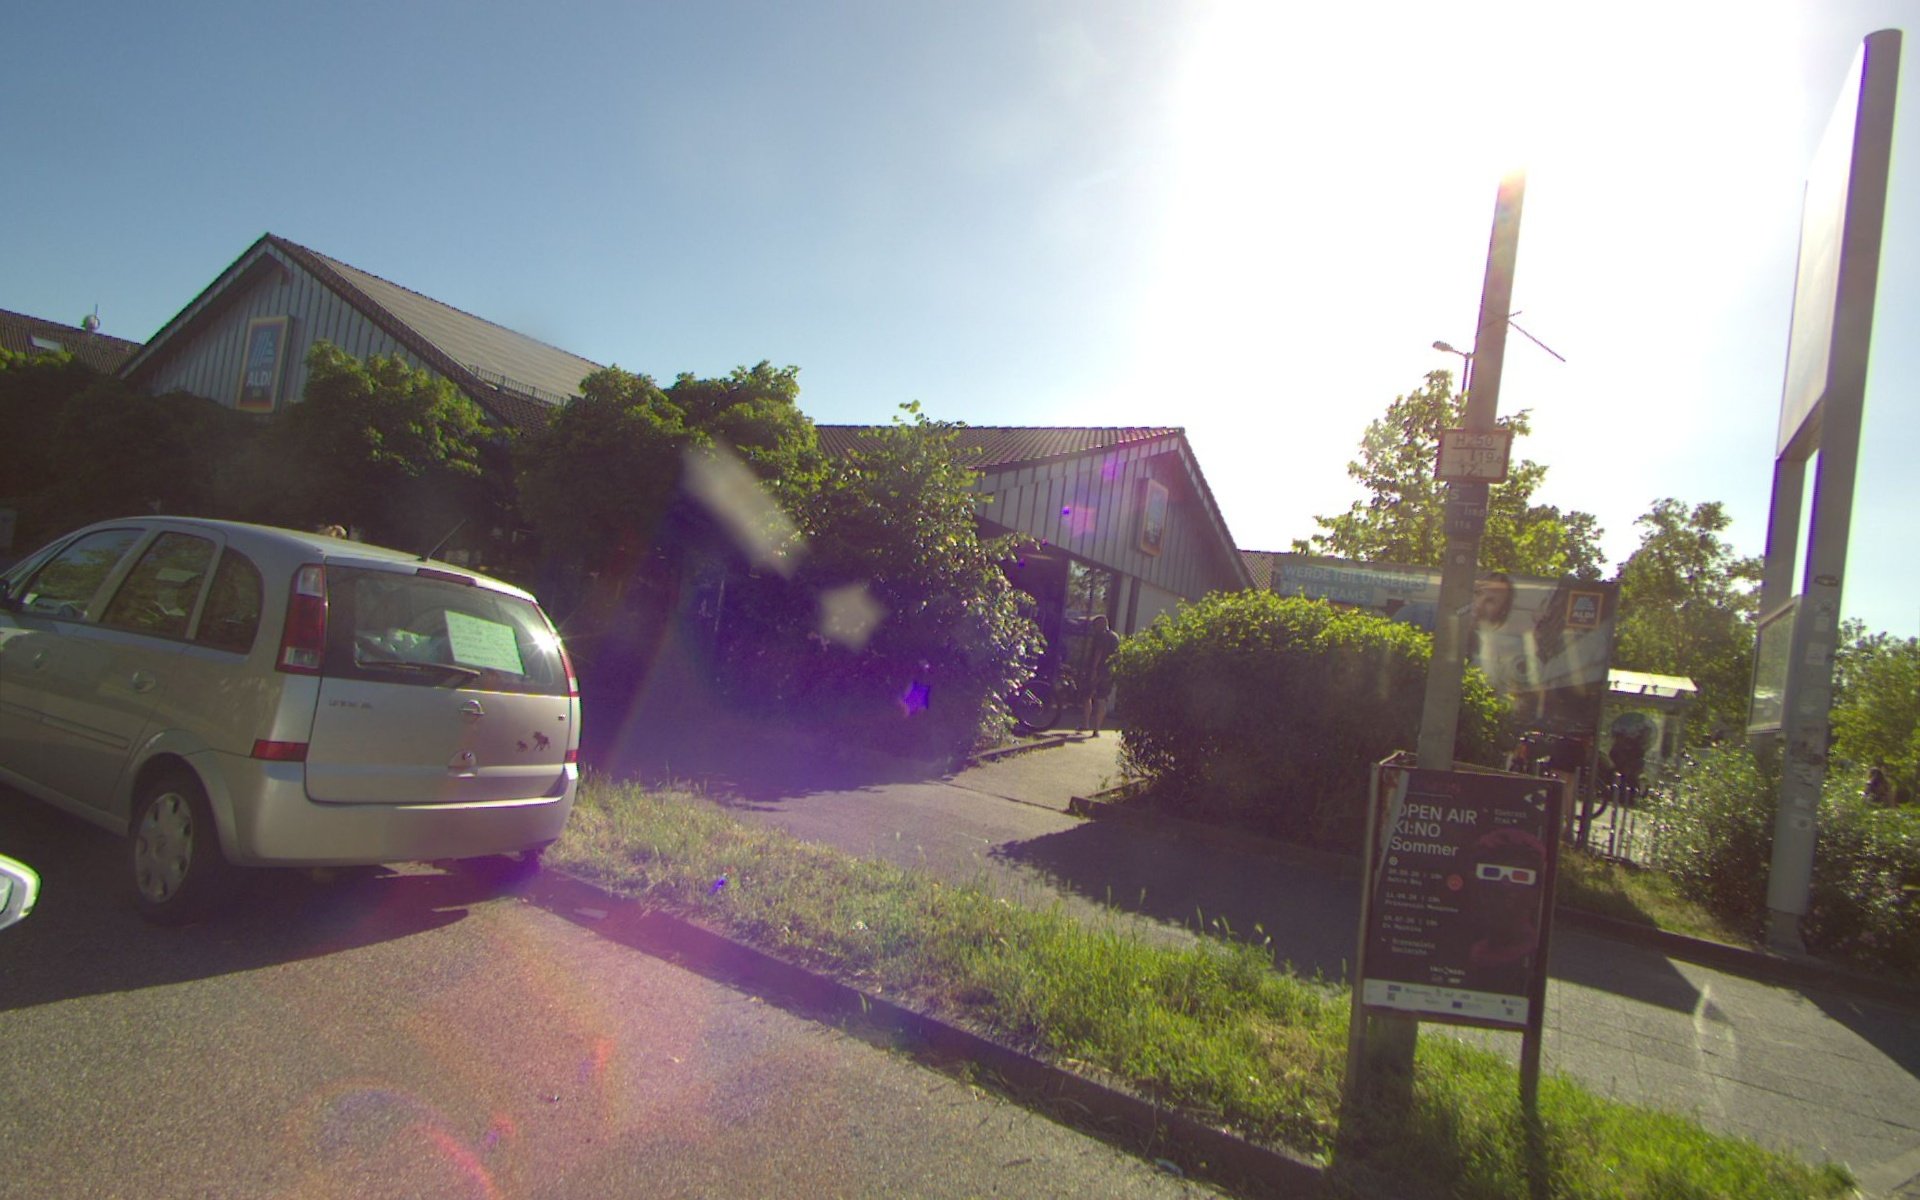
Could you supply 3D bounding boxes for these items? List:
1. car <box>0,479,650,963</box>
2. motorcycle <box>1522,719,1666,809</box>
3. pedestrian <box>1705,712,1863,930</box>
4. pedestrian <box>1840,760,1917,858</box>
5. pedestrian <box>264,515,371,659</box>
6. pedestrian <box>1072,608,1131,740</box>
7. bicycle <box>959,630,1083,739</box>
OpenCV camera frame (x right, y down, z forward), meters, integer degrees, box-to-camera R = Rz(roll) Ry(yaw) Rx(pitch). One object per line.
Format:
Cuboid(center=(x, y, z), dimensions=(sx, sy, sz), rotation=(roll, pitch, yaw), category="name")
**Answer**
Cuboid(center=(-3.815, 0.414, 5.264), dimensions=(3.958, 1.615, 1.687), rotation=(7, -5, 28), category="car")
Cuboid(center=(14.230, 3.652, 22.667), dimensions=(2.554, 1.526, 0.871), rotation=(7, -2, 32), category="motorcycle")
Cuboid(center=(7.044, 1.858, 8.611), dimensions=(0.688, 1.650, 0.769), rotation=(9, -2, -37), category="pedestrian")
Cuboid(center=(17.654, 4.004, 19.356), dimensions=(0.814, 1.675, 0.673), rotation=(7, -1, 31), category="pedestrian")
Cuboid(center=(-8.704, -0.173, 13.631), dimensions=(0.797, 1.802, 0.798), rotation=(7, -2, 39), category="pedestrian")
Cuboid(center=(2.128, 1.099, 15.036), dimensions=(0.581, 1.838, 0.882), rotation=(8, -1, 11), category="pedestrian")
Cuboid(center=(0.840, 1.150, 13.857), dimensions=(1.508, 1.257, 0.562), rotation=(8, -1, 5), category="bicycle")
